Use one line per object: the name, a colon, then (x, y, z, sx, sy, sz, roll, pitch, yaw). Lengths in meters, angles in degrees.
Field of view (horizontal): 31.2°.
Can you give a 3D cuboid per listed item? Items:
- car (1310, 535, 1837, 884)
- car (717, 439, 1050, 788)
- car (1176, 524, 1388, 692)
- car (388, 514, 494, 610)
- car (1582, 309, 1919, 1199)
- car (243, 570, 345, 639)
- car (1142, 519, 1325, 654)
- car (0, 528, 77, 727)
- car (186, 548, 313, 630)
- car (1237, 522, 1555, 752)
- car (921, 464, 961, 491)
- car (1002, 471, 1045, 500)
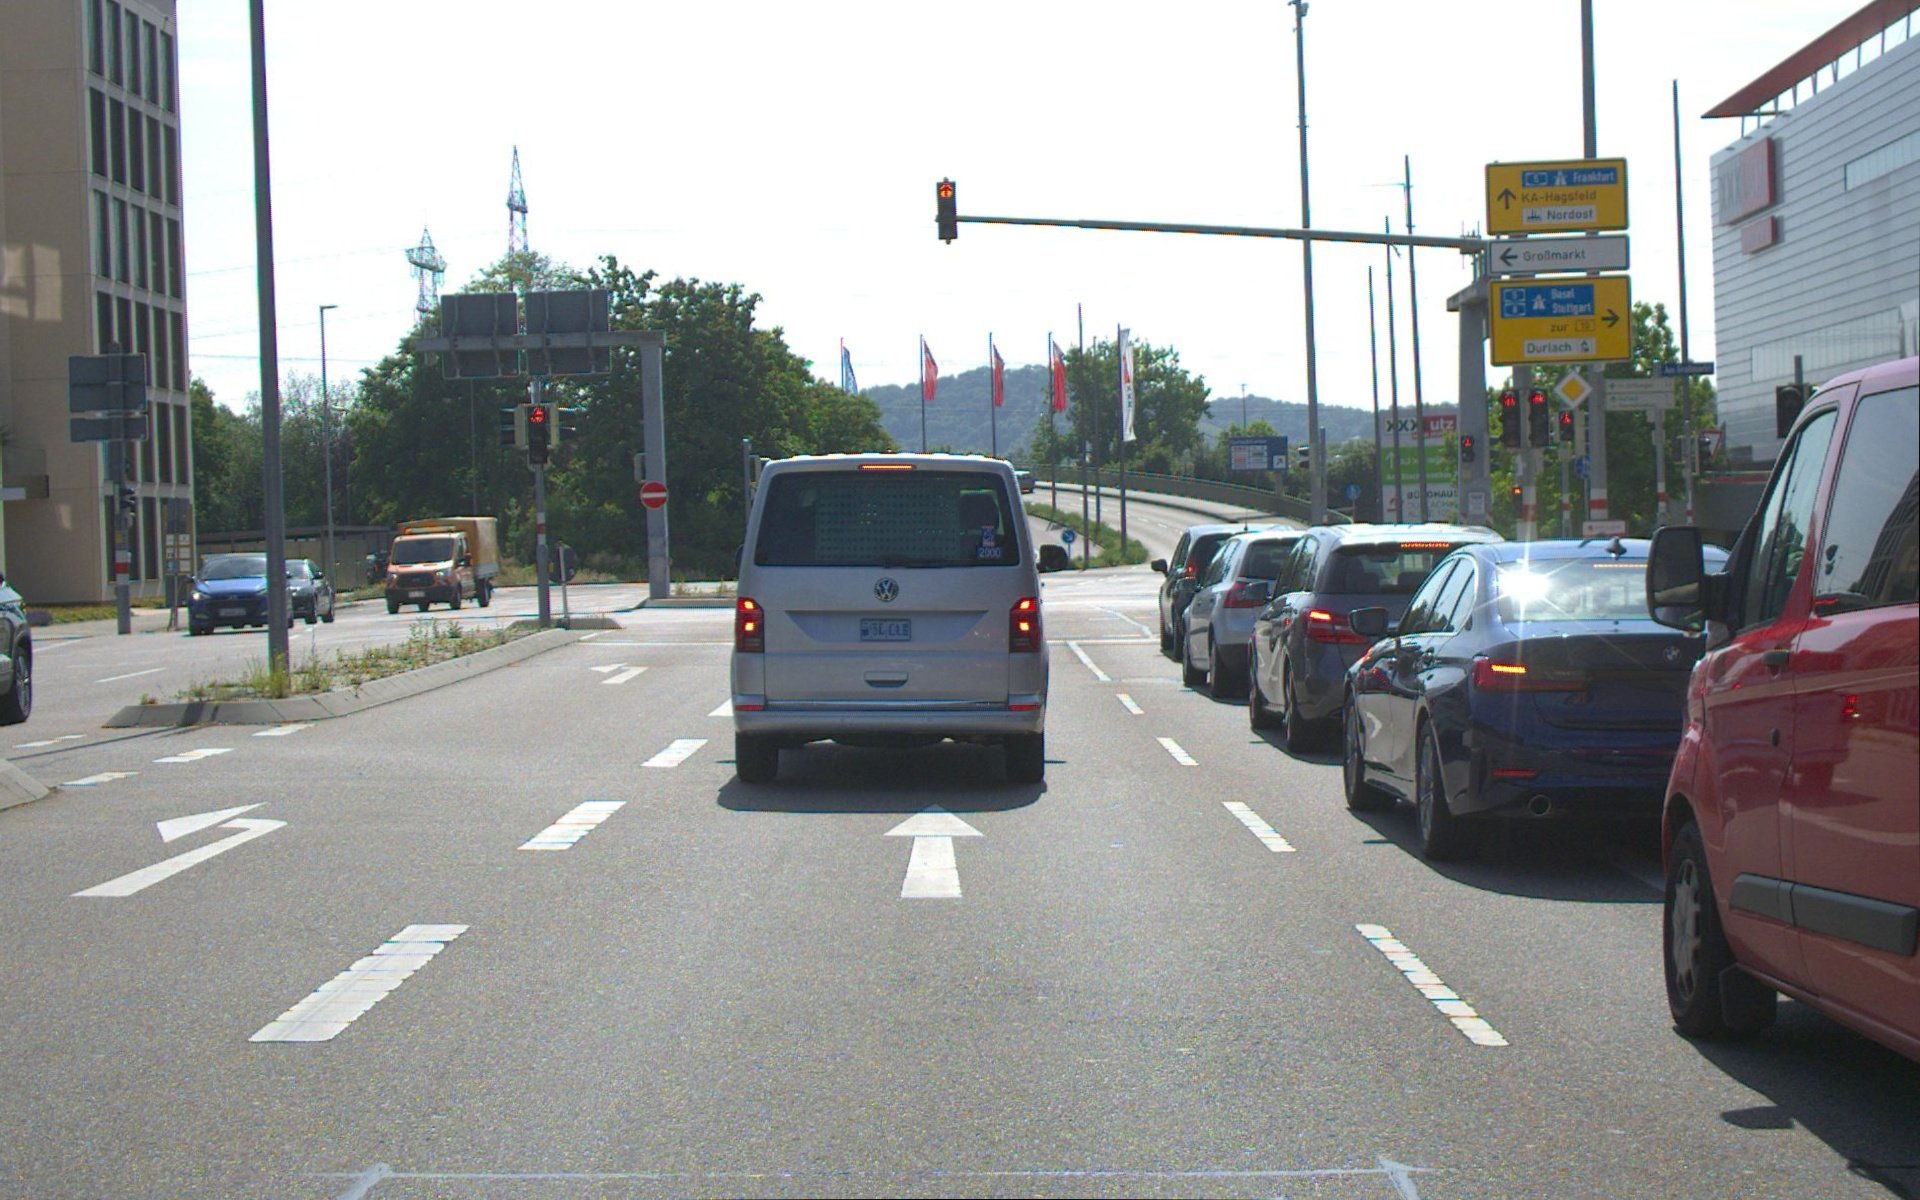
car: (2.822, 0.420, 16.773, 1.746, 1.453, 4.476, 0, 1, 0)
car: (-0.440, 0.033, 21.615, 1.884, 1.983, 4.000, 0, 1, 0)
car: (2.919, 0.029, 31.794, 1.578, 1.453, 3.786, 0, 1, 0)
car: (-14.735, -1.117, 97.952, 2.405, 2.552, 6.896, -2, 1, -4)
car: (3.032, 0.324, 8.672, 1.967, 1.961, 5.126, 0, 1, 0)
car: (-14.952, 0.073, 77.331, 1.576, 1.404, 4.380, -2, 1, -2)
car: (3.189, -0.197, 40.783, 1.836, 1.521, 4.000, 0, 1, 0)
car: (-8.724, 0.274, 28.540, 1.738, 1.613, 4.210, -4, 1, -2)
car: (-13.311, -0.231, 64.588, 1.681, 1.353, 3.841, -2, 2, -2)
car: (3.046, 0.201, 24.745, 1.746, 1.511, 4.078, 0, 1, 0)
car: (-1.437, -9.212, 258.594, 1.993, 2.007, 4.001, -1, 1, -15)
car: (4.462, -8.105, 243.142, 1.993, 2.007, 4.001, -1, 1, -15)
